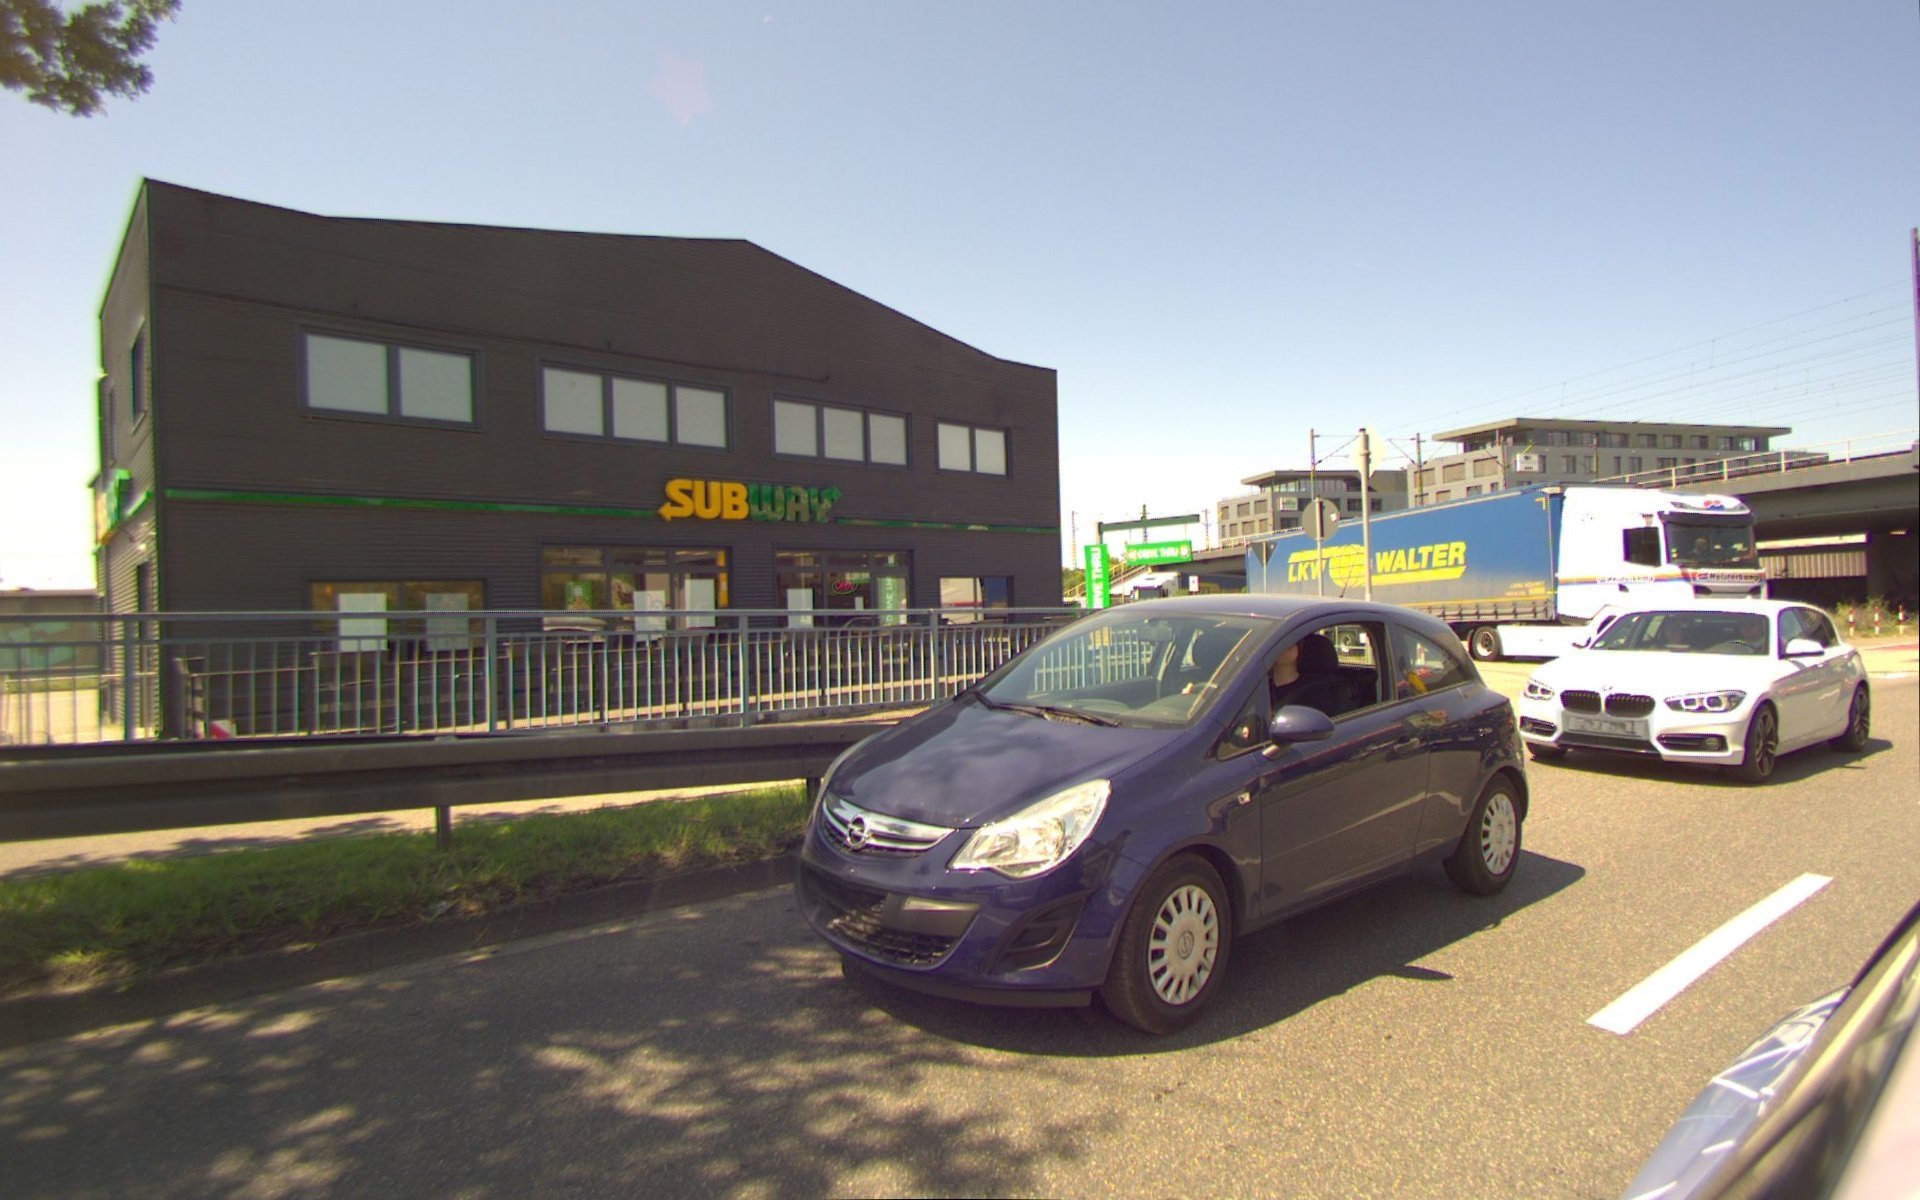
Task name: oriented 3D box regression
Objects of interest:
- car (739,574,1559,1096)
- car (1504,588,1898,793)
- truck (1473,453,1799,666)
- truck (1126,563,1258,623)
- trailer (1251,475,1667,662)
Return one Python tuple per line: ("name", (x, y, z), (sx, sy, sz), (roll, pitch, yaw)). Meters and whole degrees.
("car", (1.090, 0.661, 4.693), (3.820, 1.462, 1.650), (0, -1, -39))
("car", (6.869, 0.635, 9.264), (3.976, 1.461, 1.764), (-1, 1, -36))
("truck", (14.817, -0.767, 22.792), (2.522, 4.154, 5.772), (-1, -1, -14))
("truck", (18.133, -0.604, 77.437), (2.738, 4.155, 17.203), (-1, 0, 38))
("trailer", (13.187, -0.608, 29.475), (2.448, 4.142, 13.929), (-1, -1, -13))
